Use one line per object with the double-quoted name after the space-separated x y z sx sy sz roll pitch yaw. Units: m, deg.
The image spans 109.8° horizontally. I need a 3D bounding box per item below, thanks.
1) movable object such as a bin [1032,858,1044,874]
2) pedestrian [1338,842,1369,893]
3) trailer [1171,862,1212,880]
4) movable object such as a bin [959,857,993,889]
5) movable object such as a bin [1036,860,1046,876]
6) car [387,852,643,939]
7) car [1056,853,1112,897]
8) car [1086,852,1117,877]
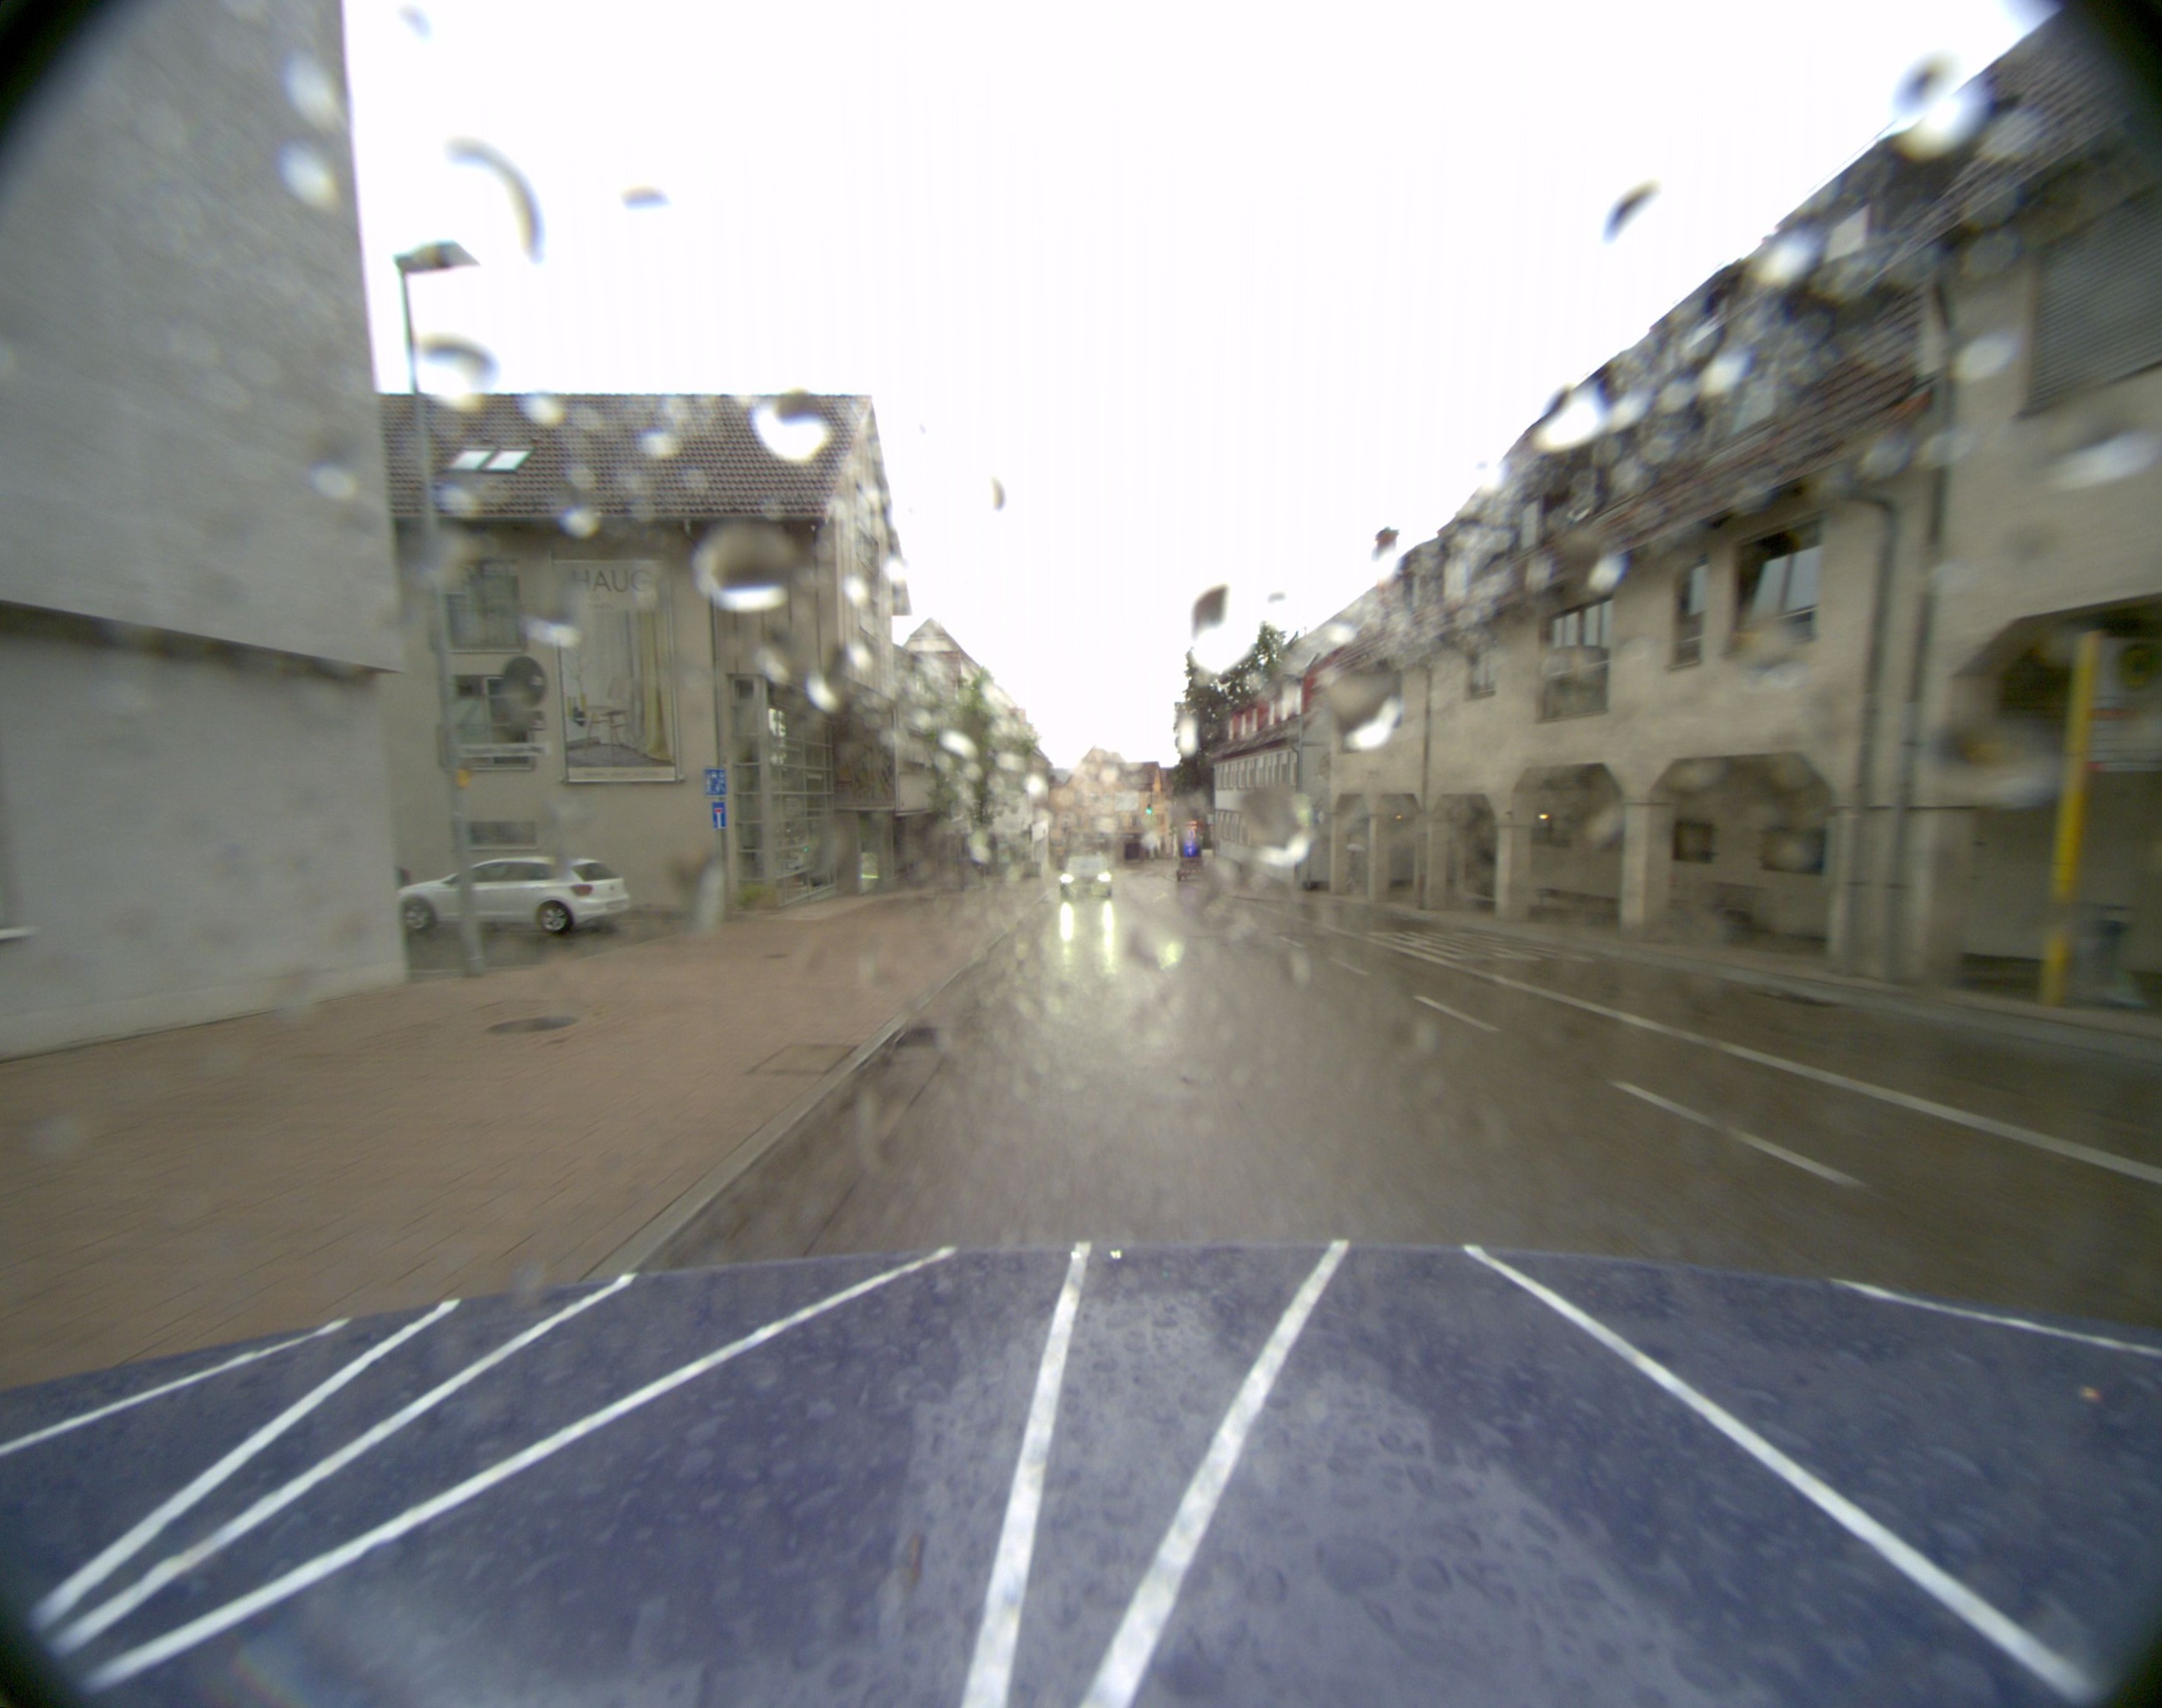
-2.818 0.808 49.407 0.571 1.022 0.467 1 1 -40 "movable object such as a bin"
9.650 0.471 26.918 0.691 1.730 0.733 -3 1 -36 "pedestrian"
6.602 0.971 45.671 1.998 0.900 4.478 -2 0 3 "trailer"
-4.474 0.802 32.436 1.237 1.327 1.173 1 0 2 "movable object such as a bin"
-2.681 0.906 50.486 0.596 1.022 0.476 2 1 2 "movable object such as a bin"
-11.168 0.778 15.179 3.772 1.446 1.743 2 2 -1 "car"
0.159 0.746 29.511 1.967 1.549 4.622 0 0 1 "car"
1.377 0.674 51.369 1.967 1.598 4.383 -1 0 2 "car"
